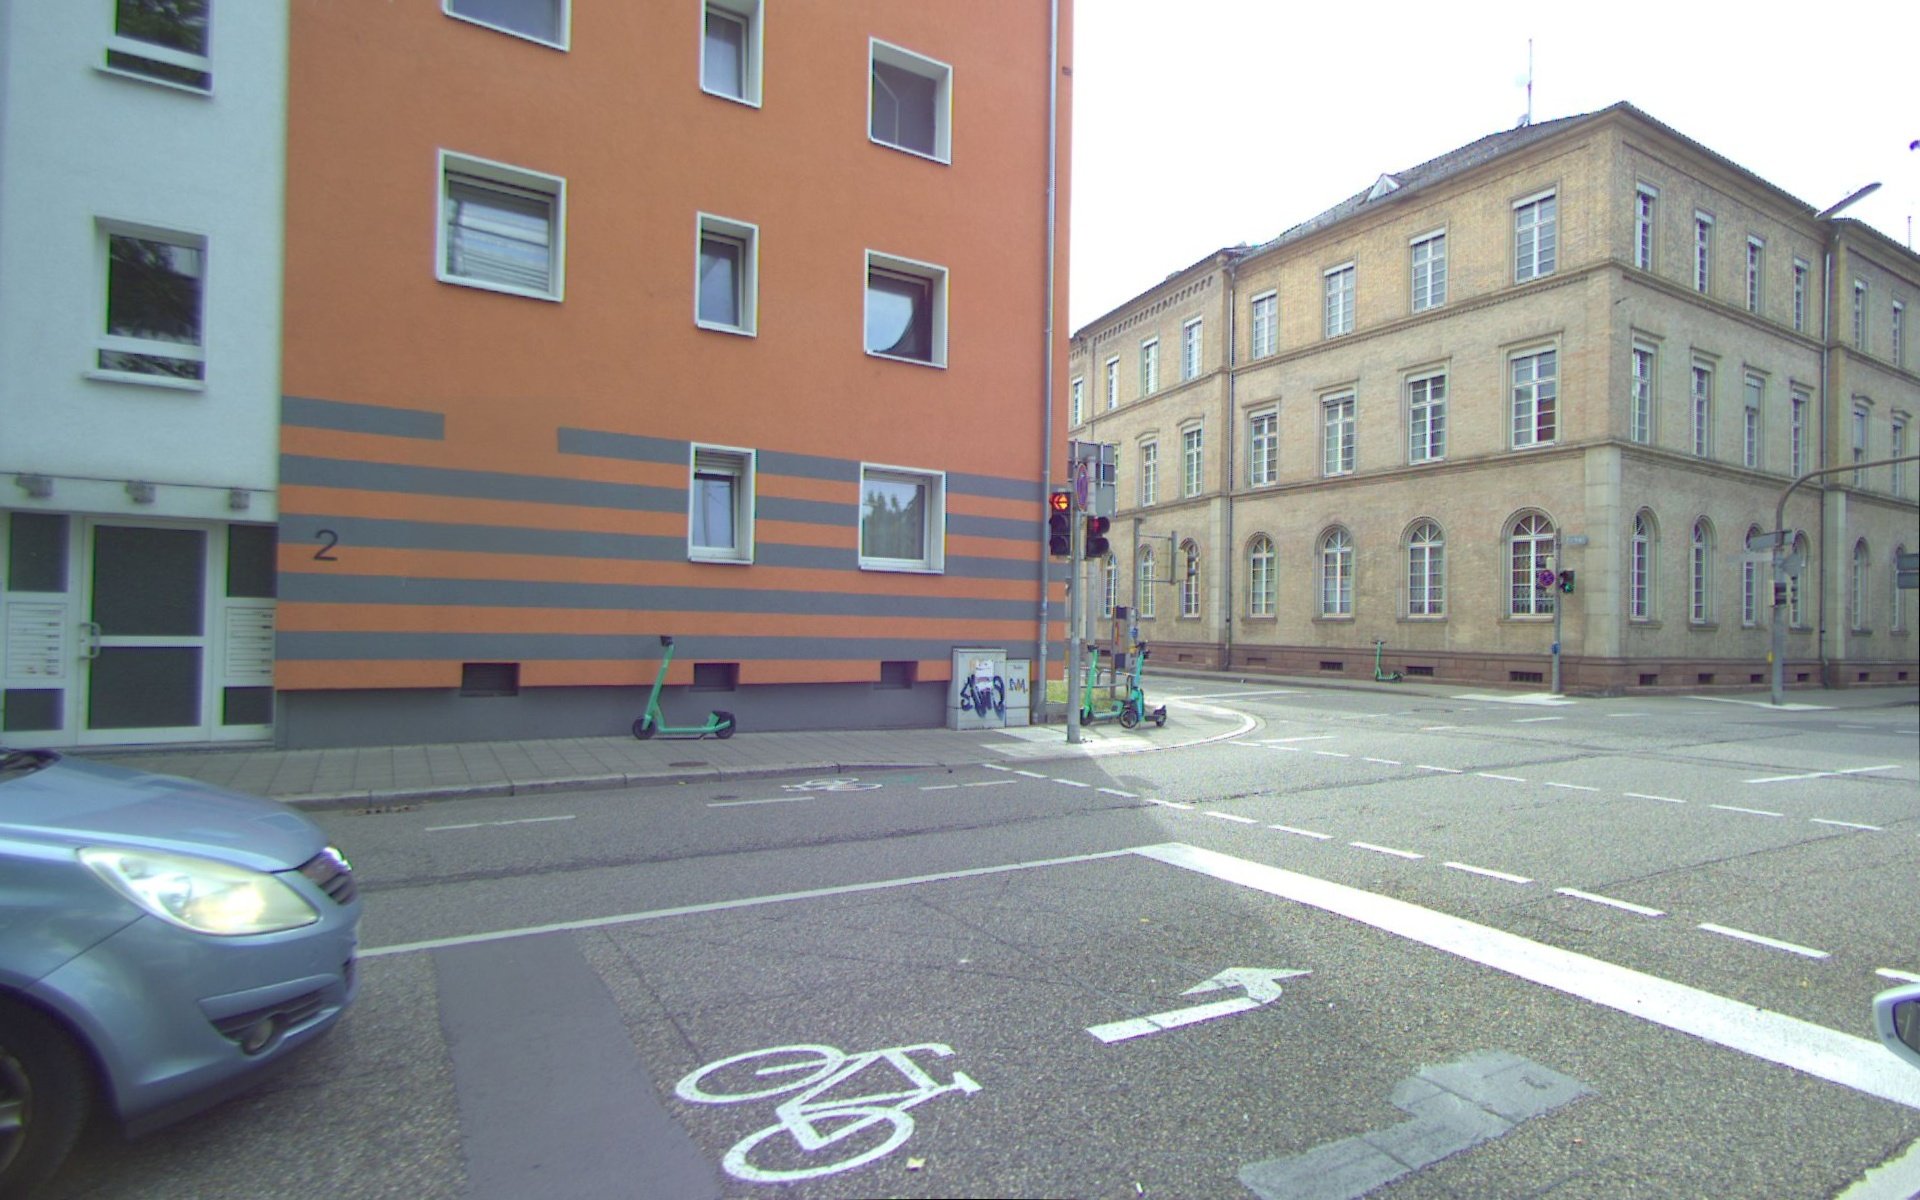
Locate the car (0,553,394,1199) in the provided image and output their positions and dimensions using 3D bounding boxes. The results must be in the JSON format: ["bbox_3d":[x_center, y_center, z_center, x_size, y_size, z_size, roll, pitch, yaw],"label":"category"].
[{"bbox_3d":[-3.513,0.603,2.328,3.777,1.457,1.660,2,-2,-31],"label":"car"}]

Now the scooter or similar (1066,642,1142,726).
[{"bbox_3d":[2.163,1.230,15.005,1.345,1.173,0.325,2,0,-44],"label":"scooter or similar"}]

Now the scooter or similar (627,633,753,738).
[{"bbox_3d":[-3.112,0.970,11.612,1.338,1.139,0.366,2,0,-30],"label":"scooter or similar"}]

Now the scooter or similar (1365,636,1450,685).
[{"bbox_3d":[12.337,1.659,27.777,0.553,1.180,2.362,2,0,-24],"label":"scooter or similar"}]

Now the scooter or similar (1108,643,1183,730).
[{"bbox_3d":[2.716,1.239,14.636,1.334,1.194,0.325,2,0,-44],"label":"scooter or similar"}]
